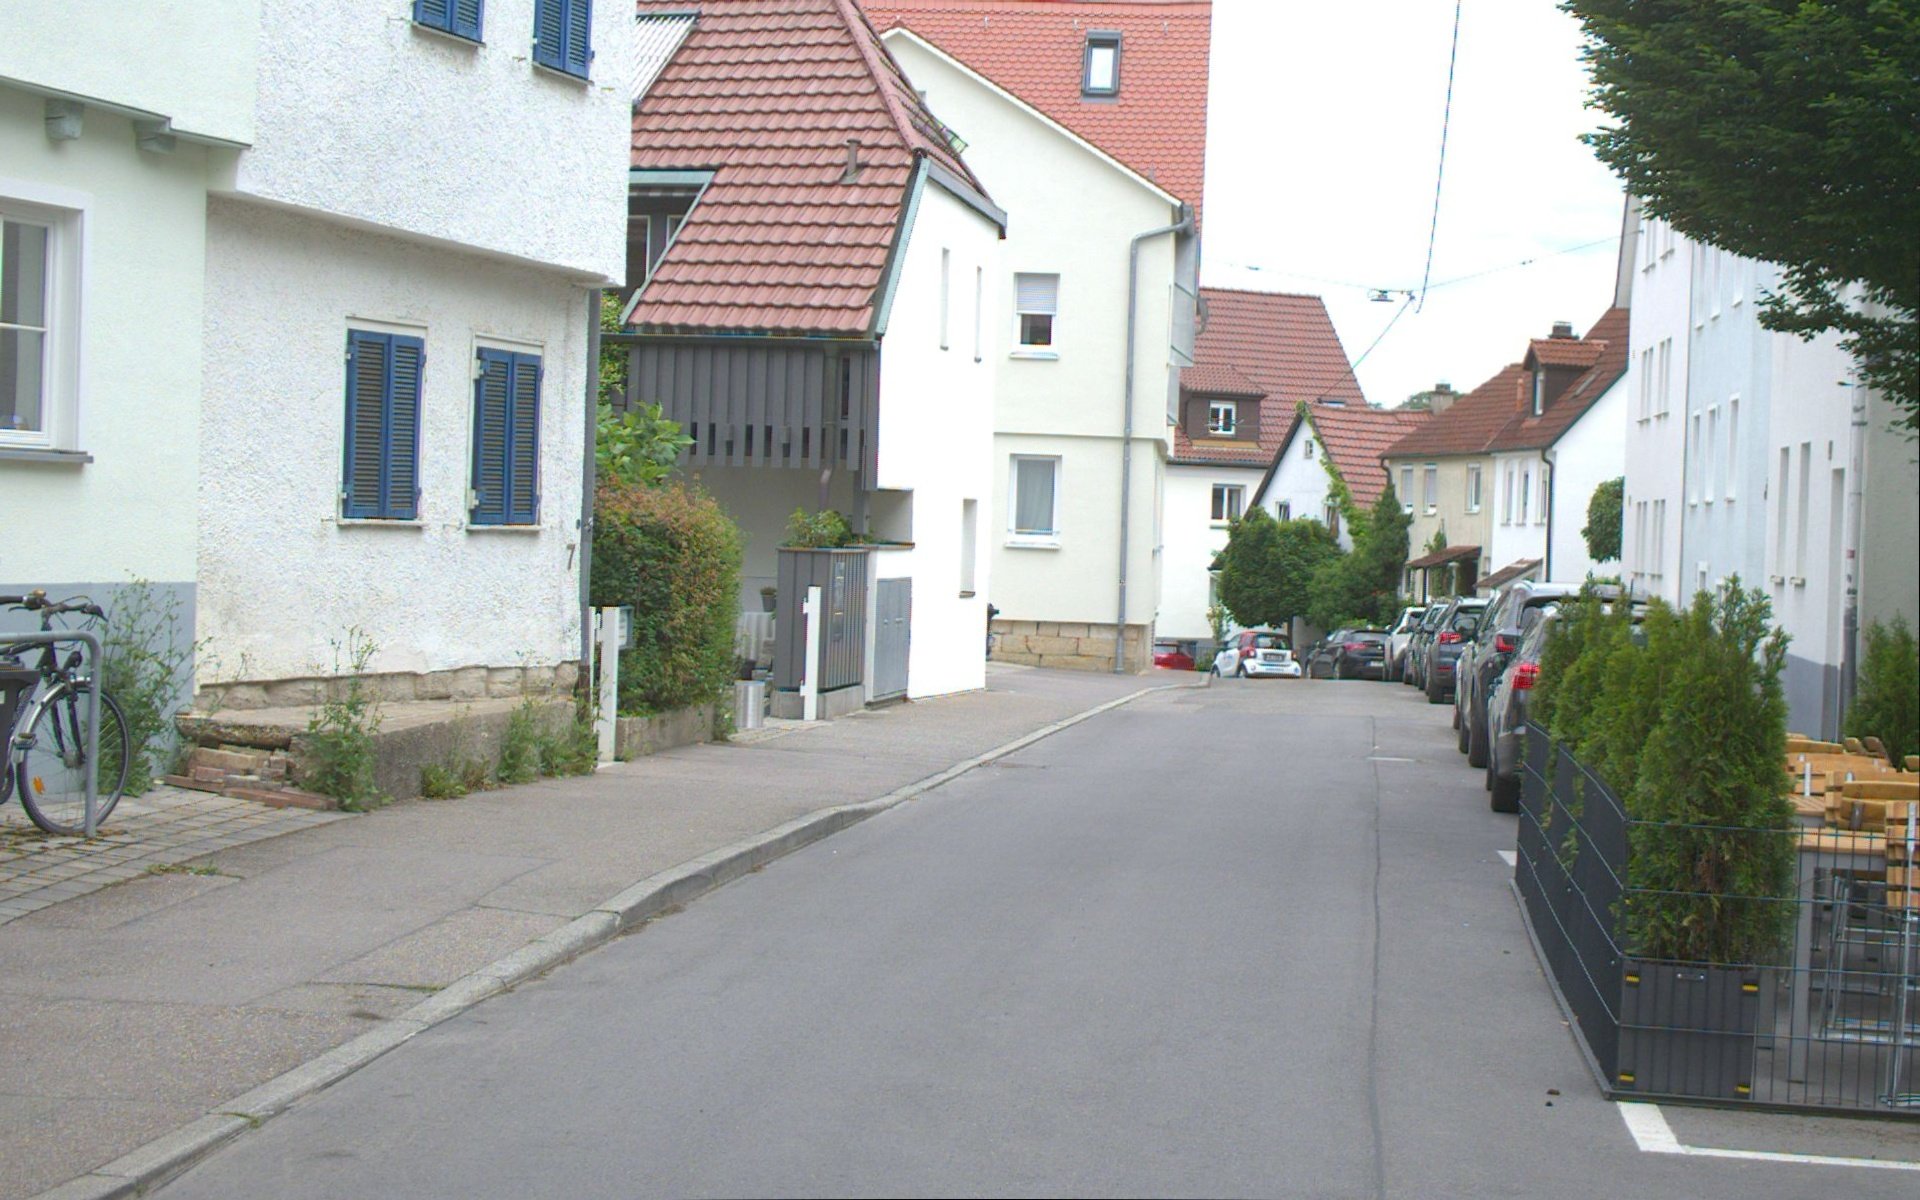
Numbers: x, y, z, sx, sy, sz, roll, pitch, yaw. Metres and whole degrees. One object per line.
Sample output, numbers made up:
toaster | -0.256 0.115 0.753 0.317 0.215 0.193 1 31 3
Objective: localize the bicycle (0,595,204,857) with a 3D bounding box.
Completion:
bicycle | -4.029 0.525 14.585 0.443 1.035 2.090 7 3 21

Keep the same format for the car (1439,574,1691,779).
car | 5.381 0.633 31.116 1.863 1.627 4.900 2 0 6

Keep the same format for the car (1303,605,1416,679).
car | 9.976 1.070 86.081 1.993 1.707 4.000 2 -2 -5

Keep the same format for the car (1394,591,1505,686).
car | 9.253 0.740 65.237 1.736 1.605 3.999 5 0 5

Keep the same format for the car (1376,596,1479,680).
car | 10.192 0.840 75.223 1.873 1.707 4.147 2 -1 4

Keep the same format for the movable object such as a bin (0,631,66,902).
movable object such as a bin | -3.893 0.628 13.242 0.554 0.996 0.586 8 4 17

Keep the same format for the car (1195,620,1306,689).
car | 8.025 1.489 95.282 1.962 1.707 4.001 3 1 -11

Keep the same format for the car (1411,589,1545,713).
car | 7.522 0.702 50.051 1.754 1.622 4.533 4 1 8

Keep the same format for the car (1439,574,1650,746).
car | 6.214 0.586 36.941 1.994 1.610 4.877 4 1 8

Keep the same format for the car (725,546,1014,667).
car | -1.294 0.103 50.230 3.733 1.407 2.119 5 -1 12

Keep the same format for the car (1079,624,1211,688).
car | 5.421 1.659 101.100 1.993 1.678 4.000 -3 -1 -28

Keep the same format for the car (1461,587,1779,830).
car | 4.713 0.705 25.173 1.949 1.503 4.819 3 1 8
